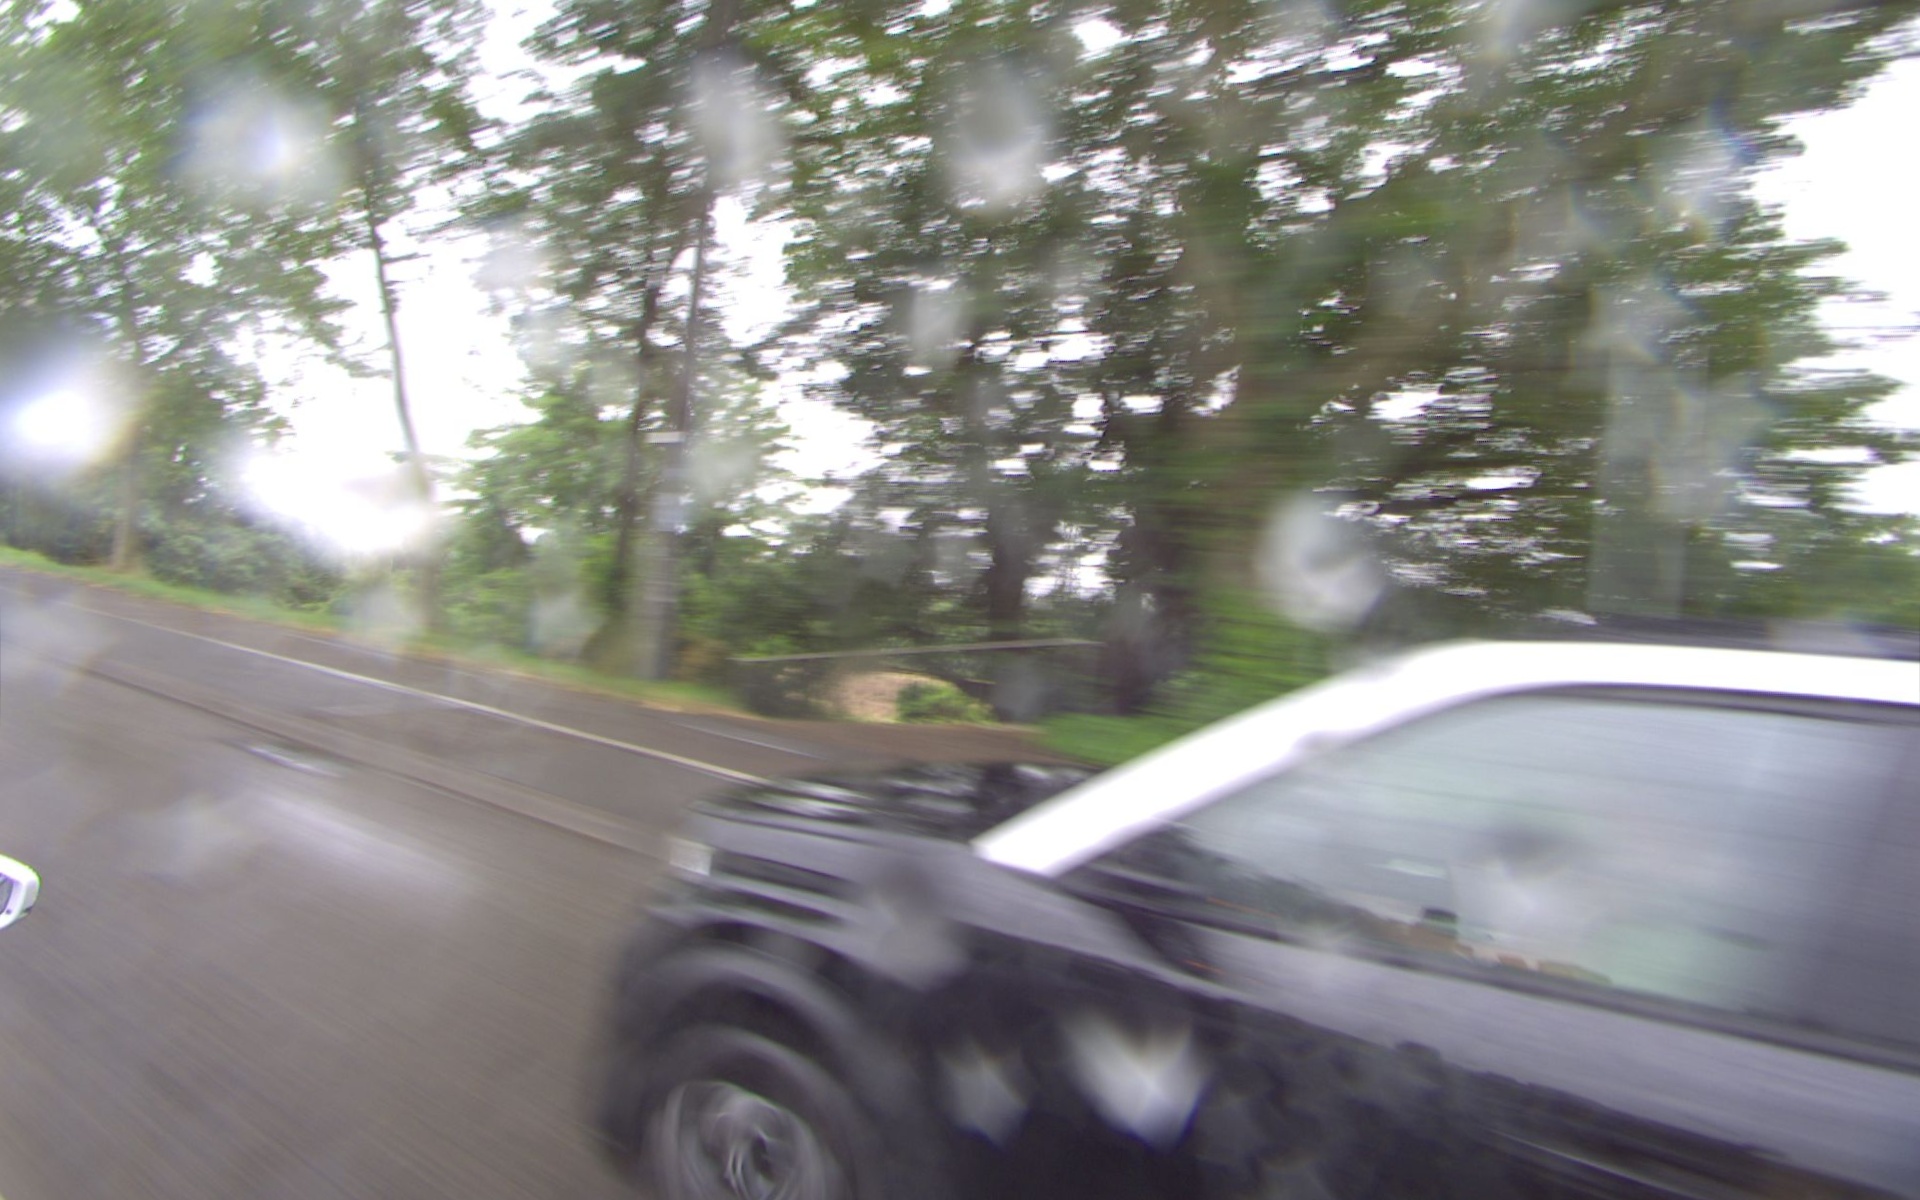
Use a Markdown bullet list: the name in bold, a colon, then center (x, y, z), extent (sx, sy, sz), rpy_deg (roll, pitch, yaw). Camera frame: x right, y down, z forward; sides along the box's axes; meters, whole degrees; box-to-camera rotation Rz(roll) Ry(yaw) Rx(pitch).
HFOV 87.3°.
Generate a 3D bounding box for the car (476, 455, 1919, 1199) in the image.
- **car**: center (1.509, 0.852, 1.646), extent (4.684, 1.722, 1.796), rpy_deg (6, -2, 32)
